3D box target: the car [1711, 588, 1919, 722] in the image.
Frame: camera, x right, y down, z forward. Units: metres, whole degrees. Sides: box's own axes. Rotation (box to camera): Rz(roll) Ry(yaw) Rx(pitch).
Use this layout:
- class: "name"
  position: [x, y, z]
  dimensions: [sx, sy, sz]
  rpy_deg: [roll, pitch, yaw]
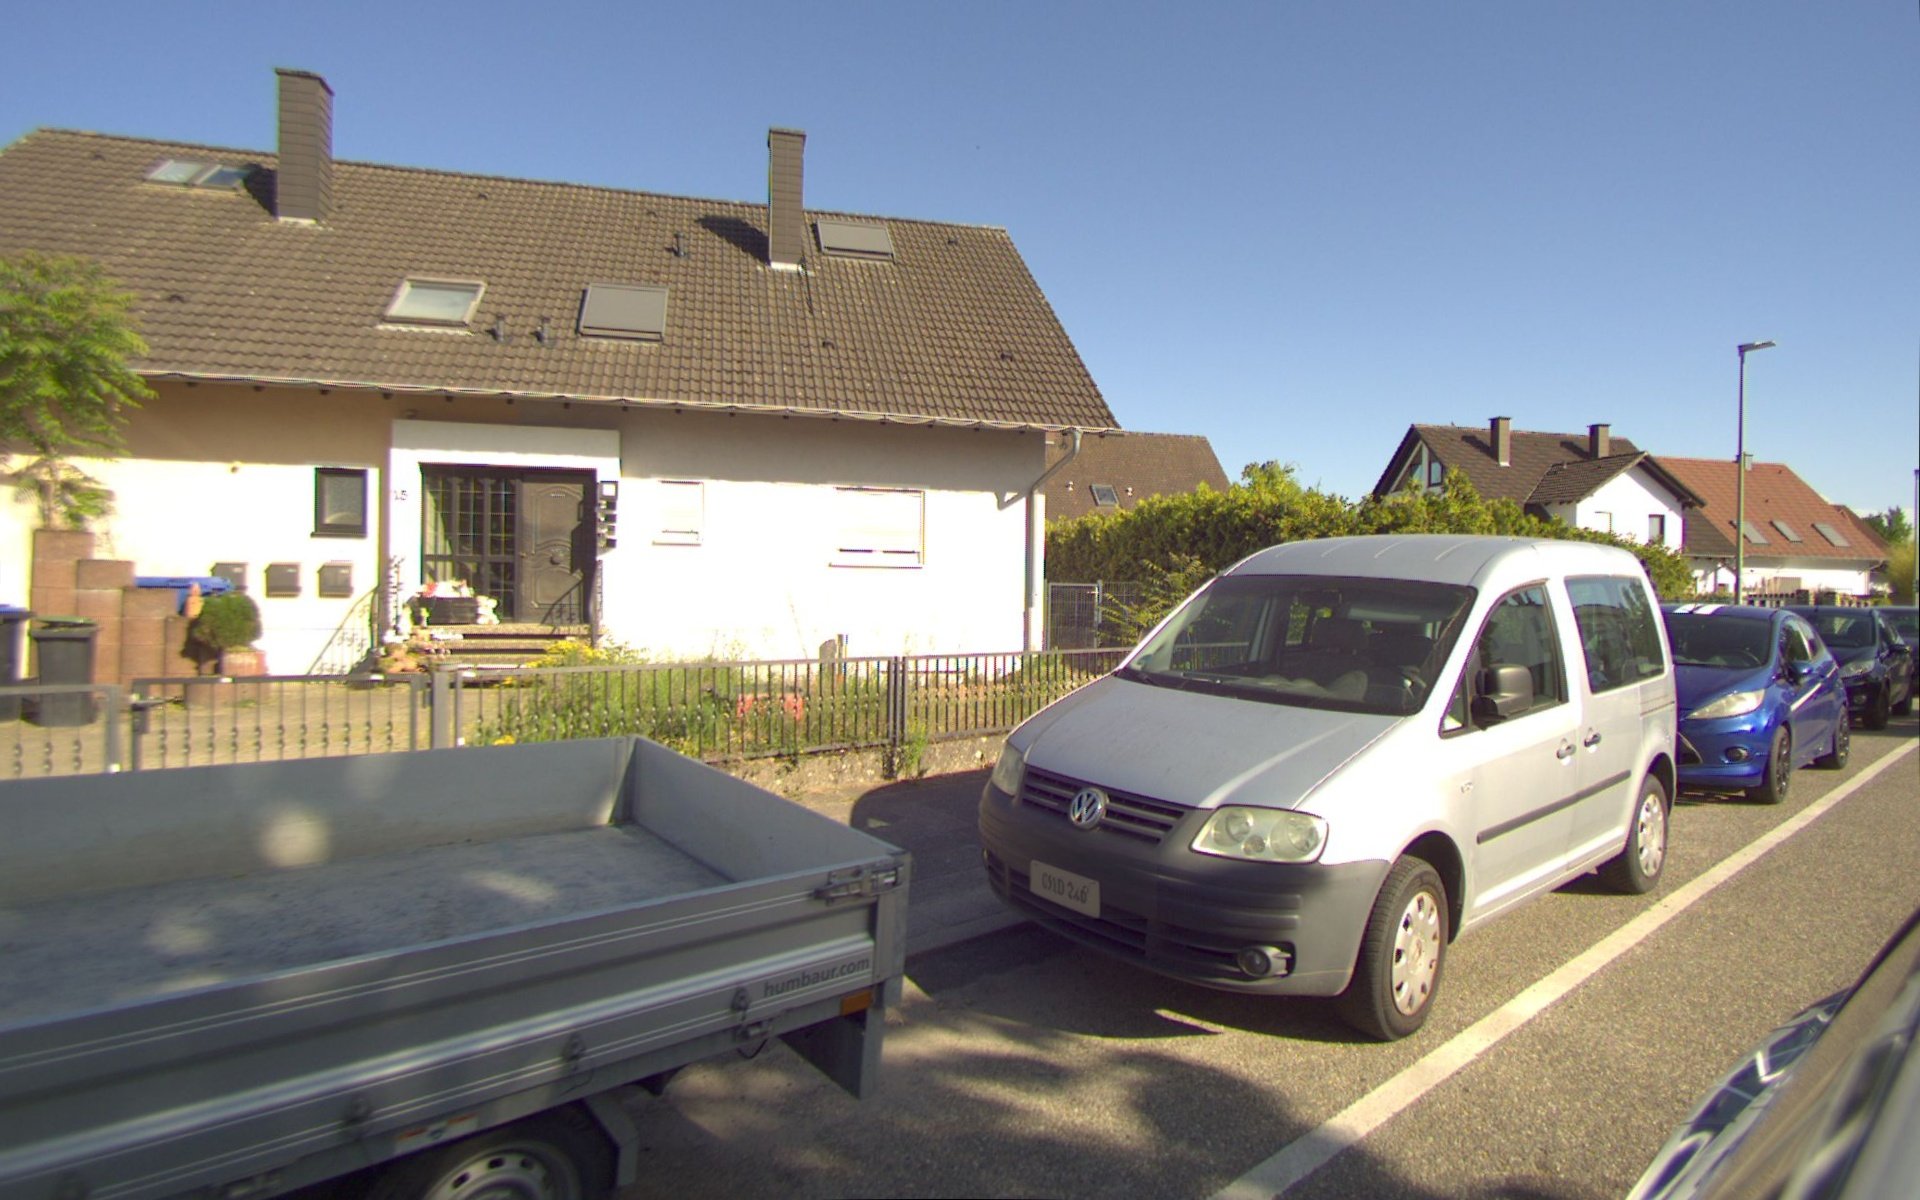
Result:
- class: "car"
  position: [11.457, 0.606, 13.363]
  dimensions: [3.839, 1.524, 1.721]
  rpy_deg: [0, 0, -41]

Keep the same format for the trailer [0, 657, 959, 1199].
- class: "trailer"
  position: [-1.682, 0.841, 2.044]
  dimensions: [3.092, 1.232, 1.629]
  rpy_deg: [0, 1, -43]

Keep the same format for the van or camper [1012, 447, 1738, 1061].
- class: "van or camper"
  position: [2.347, 0.465, 5.145]
  dimensions: [4.105, 1.914, 1.722]
  rpy_deg: [0, 0, -40]

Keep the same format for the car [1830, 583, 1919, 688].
- class: "car"
  position: [16.737, 0.573, 17.761]
  dimensions: [3.750, 1.680, 1.778]
  rpy_deg: [0, 0, -42]

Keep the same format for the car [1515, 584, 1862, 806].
- class: "car"
  position: [6.389, 0.636, 8.754]
  dimensions: [3.501, 1.524, 1.721]
  rpy_deg: [0, 0, -41]

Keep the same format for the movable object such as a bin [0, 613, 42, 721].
- class: "movable object such as a bin"
  position: [-8.581, 0.585, 8.978]
  dimensions: [0.448, 0.924, 0.506]
  rpy_deg: [1, 0, -12]

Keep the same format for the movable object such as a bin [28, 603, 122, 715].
- class: "movable object such as a bin"
  position: [-8.029, 0.522, 9.197]
  dimensions: [0.448, 0.977, 0.506]
  rpy_deg: [1, 0, -12]
